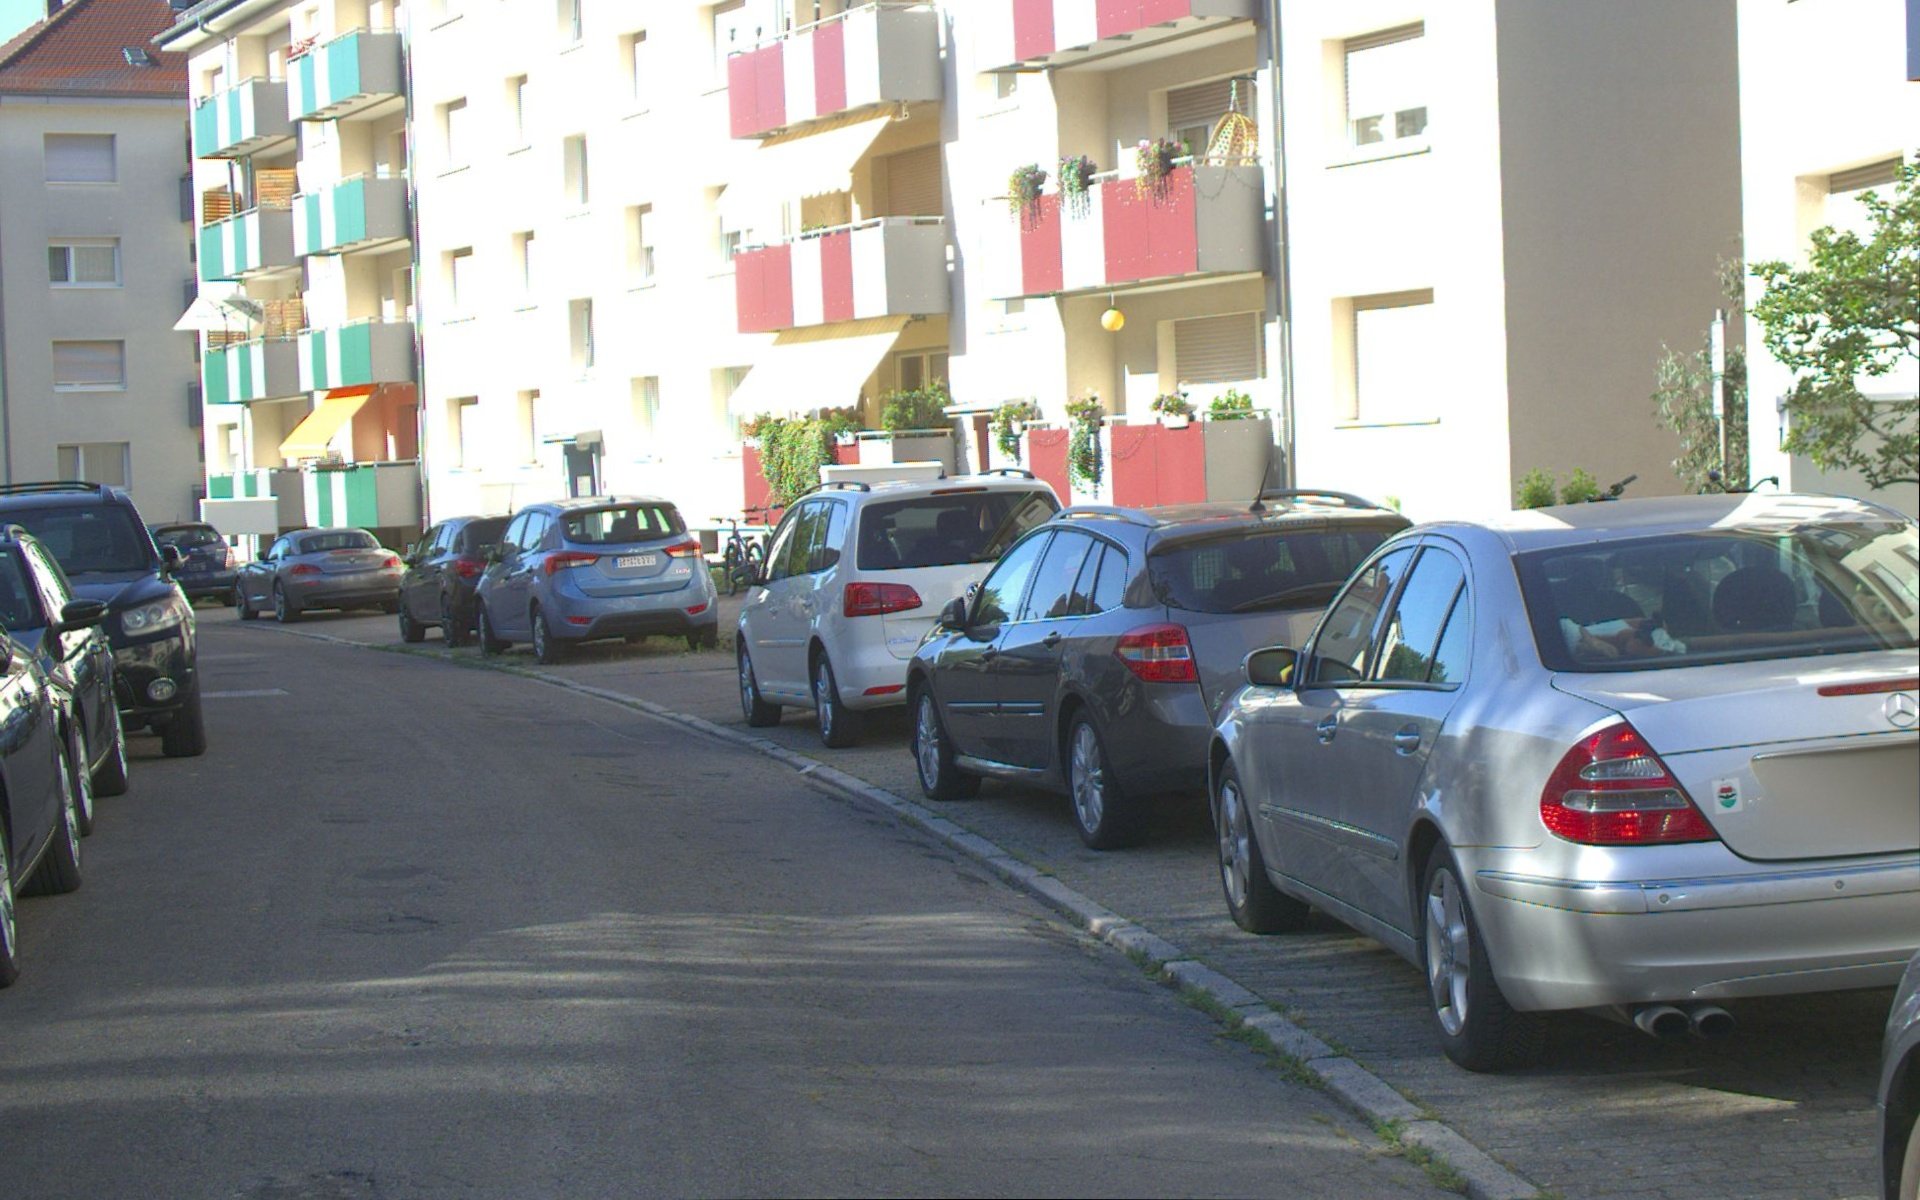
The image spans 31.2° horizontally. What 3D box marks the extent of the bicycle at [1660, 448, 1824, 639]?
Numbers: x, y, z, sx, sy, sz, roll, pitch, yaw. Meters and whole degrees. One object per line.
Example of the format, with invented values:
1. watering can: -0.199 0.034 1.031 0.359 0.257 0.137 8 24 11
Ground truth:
1. bicycle: 5.216 -0.400 23.035 0.514 1.198 1.834 -4 3 -3

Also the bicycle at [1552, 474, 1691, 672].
1. bicycle: 4.321 -0.202 22.545 0.514 1.198 1.761 -4 3 1

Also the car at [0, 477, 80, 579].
1. car: -18.723 -1.345 66.745 1.896 1.849 4.343 -4 2 -31

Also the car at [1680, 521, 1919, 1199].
1. car: 2.504 0.610 4.194 1.677 1.402 4.547 -3 2 -8

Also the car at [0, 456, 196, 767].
1. car: -5.803 0.036 22.074 1.555 1.708 4.339 -6 3 -13

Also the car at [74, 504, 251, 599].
1. car: -13.529 -0.814 58.191 1.738 1.426 4.356 -6 3 -28

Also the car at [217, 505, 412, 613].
1. car: -9.393 -0.610 49.765 1.685 1.358 4.241 -6 3 -25

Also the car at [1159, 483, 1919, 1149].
1. car: 1.866 0.411 10.265 1.677 1.442 4.725 -3 2 -7

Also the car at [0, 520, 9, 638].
1. car: -13.417 -0.257 44.269 1.569 1.459 4.263 -5 3 -24

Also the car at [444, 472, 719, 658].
1. car: -3.924 -0.417 35.072 1.765 1.629 4.043 -5 4 -20

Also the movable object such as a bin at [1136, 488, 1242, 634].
1. movable object such as a bin: 1.753 -0.298 26.367 0.583 1.052 0.641 -6 1 -9

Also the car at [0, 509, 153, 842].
1. car: -5.026 0.340 17.200 1.555 1.437 3.969 -6 3 -9

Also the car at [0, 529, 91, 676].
1. car: -10.765 0.007 38.066 1.693 1.384 4.158 -4 4 -20

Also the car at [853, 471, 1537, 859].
1. car: 0.903 0.219 16.175 1.693 1.426 4.689 -5 2 -15

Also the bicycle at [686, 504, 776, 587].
1. bicycle: -2.950 -0.702 44.108 0.497 1.016 1.842 -5 3 -23

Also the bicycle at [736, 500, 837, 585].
1. bicycle: -2.252 -0.751 44.369 0.617 0.974 1.896 -7 5 -22

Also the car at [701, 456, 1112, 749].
1. car: -0.470 -0.044 22.868 1.693 1.650 4.392 -4 2 -14

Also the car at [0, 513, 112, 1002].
1. car: -4.081 0.495 12.135 1.678 1.437 4.281 -6 3 -9

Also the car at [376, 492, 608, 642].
1. car: -5.465 -0.413 39.799 1.735 1.503 3.887 -6 3 -20
